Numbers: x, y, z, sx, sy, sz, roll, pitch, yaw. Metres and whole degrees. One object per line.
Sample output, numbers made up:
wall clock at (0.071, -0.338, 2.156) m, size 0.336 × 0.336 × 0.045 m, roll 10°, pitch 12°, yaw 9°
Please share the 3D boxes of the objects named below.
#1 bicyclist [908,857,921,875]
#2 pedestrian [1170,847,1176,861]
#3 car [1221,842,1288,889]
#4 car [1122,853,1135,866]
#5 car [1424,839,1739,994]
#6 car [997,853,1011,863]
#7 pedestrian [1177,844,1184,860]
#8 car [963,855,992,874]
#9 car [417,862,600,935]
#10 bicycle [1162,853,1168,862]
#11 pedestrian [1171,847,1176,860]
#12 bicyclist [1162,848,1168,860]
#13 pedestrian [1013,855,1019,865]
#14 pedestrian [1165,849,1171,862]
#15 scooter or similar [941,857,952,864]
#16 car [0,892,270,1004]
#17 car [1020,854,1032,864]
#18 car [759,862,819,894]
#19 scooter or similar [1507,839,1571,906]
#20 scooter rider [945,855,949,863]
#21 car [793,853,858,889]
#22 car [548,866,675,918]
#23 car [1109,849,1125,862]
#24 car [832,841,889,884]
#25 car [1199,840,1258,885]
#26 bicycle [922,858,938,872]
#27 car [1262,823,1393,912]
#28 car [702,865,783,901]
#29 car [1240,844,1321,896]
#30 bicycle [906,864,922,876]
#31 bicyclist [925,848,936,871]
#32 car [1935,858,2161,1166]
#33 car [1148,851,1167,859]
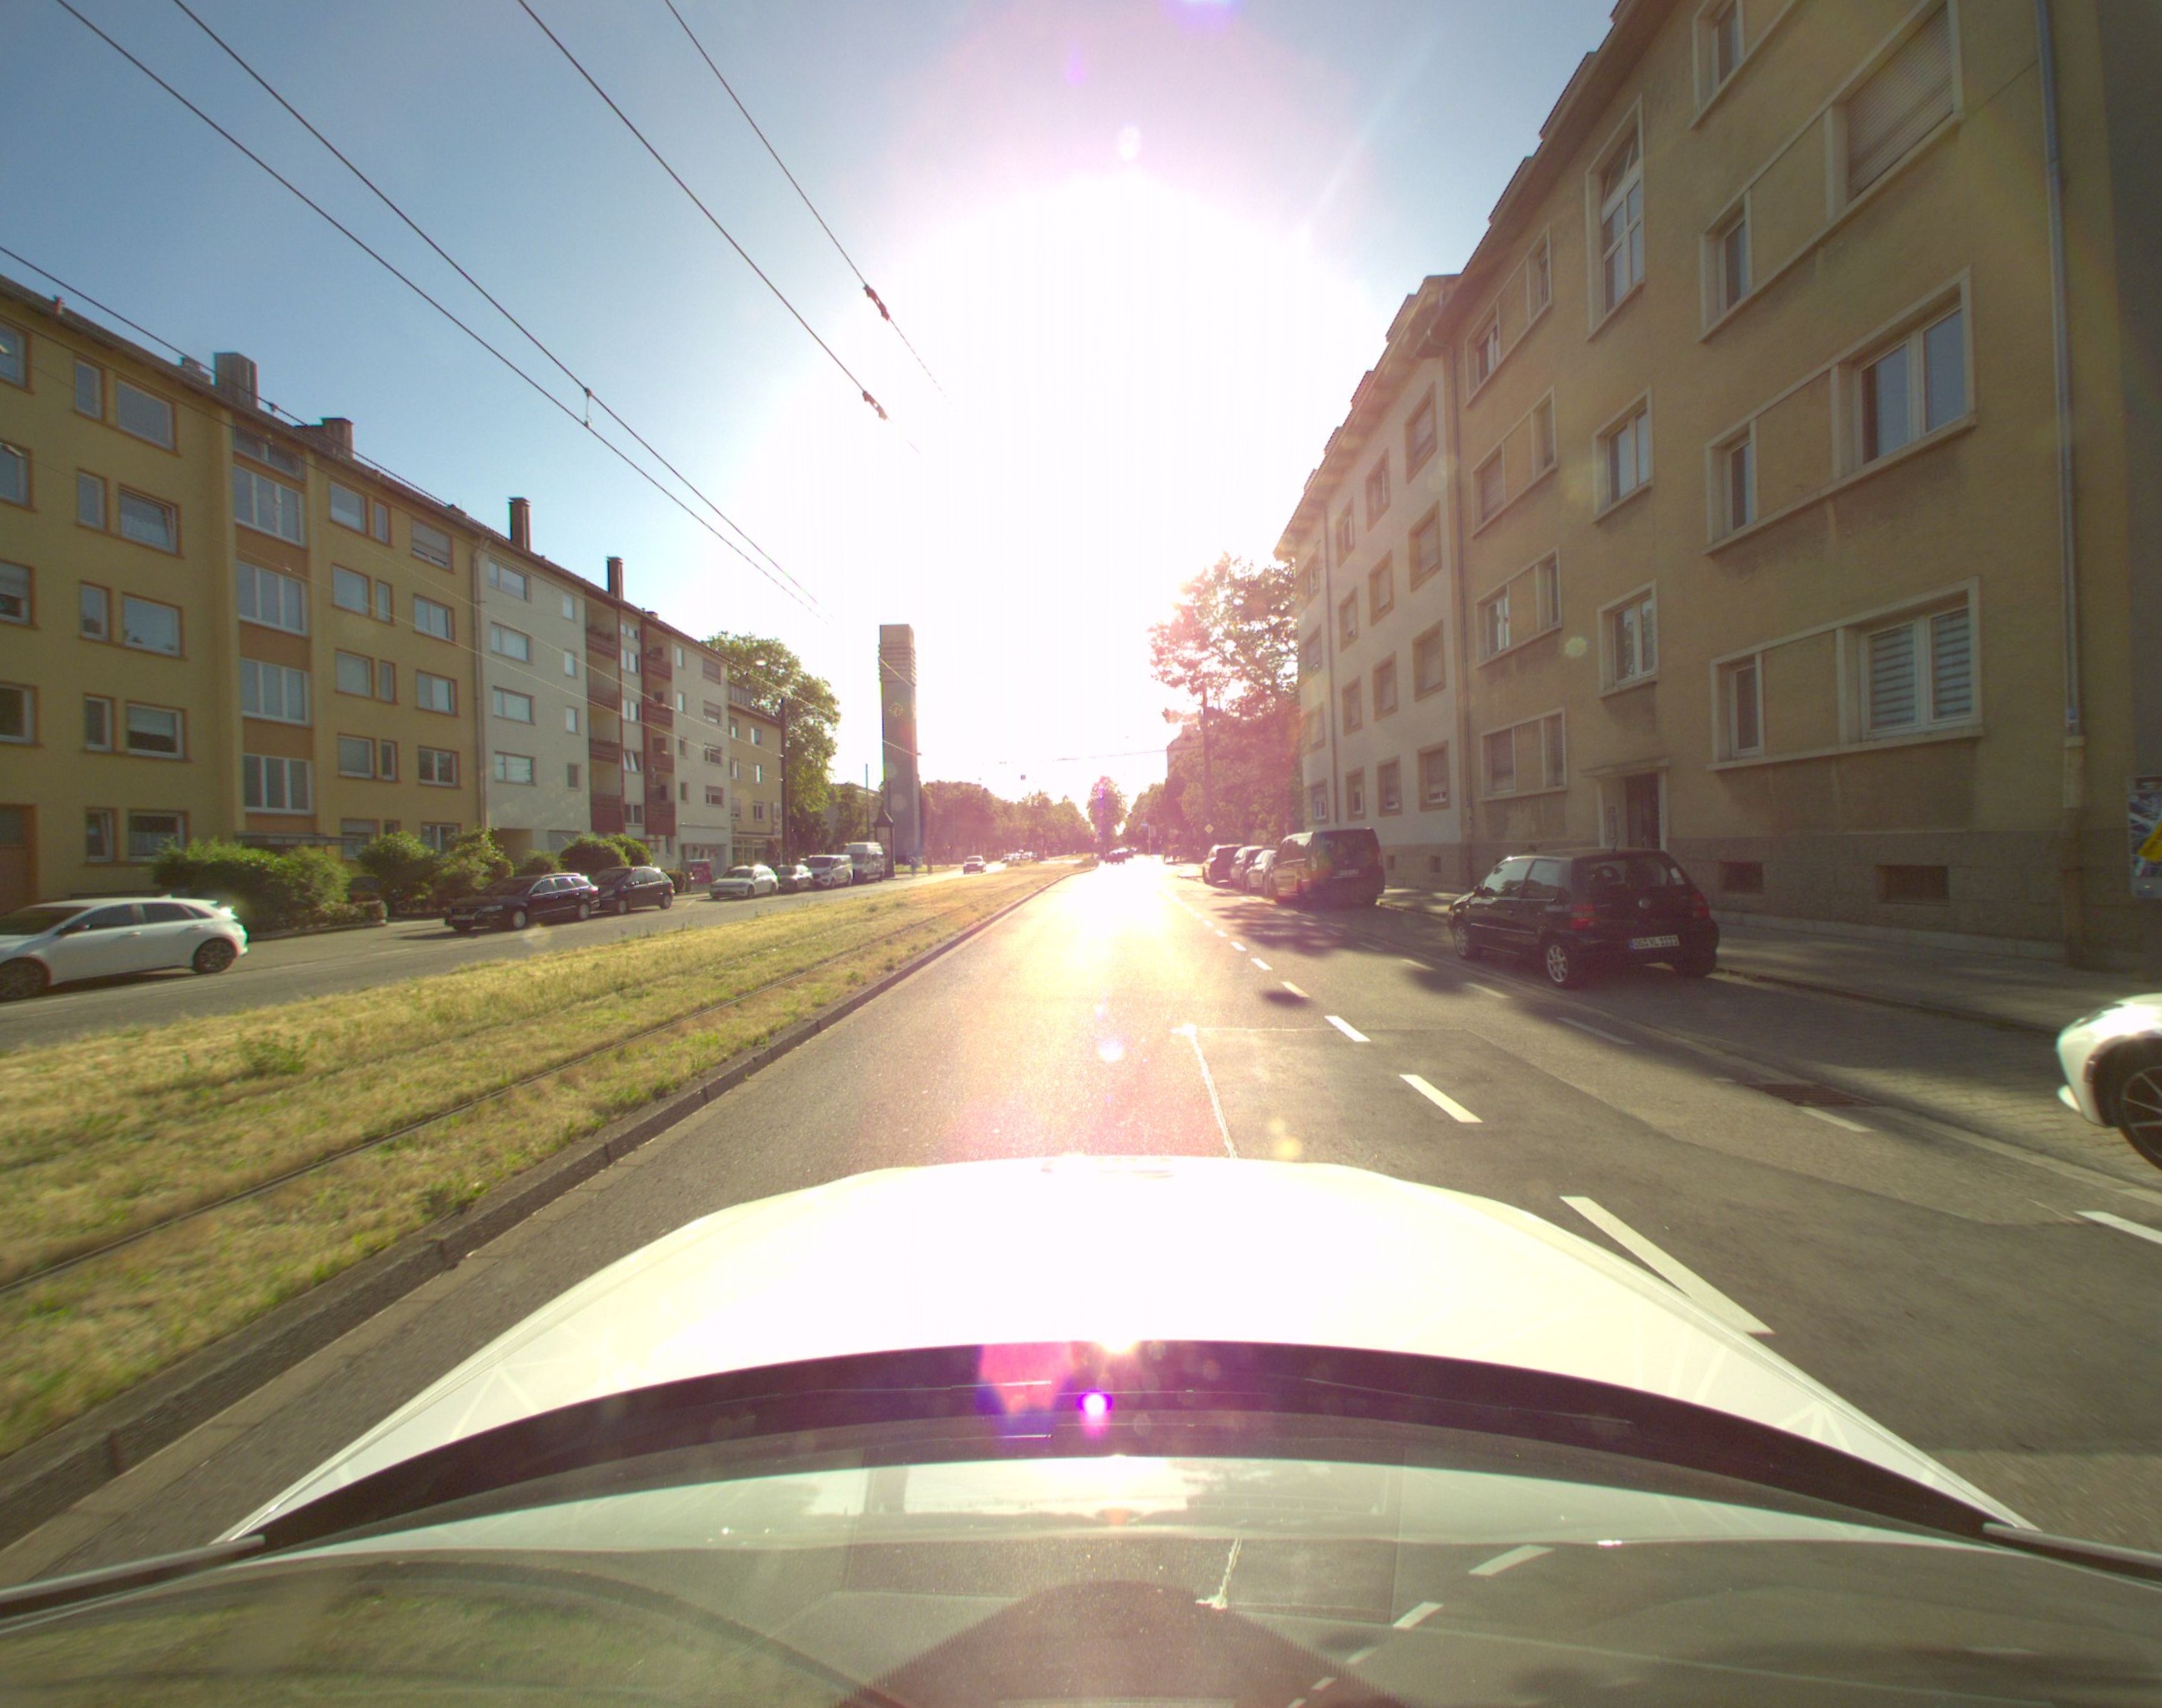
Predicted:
bicyclist at (-13.115, 0.933, 64.093) m, size 0.770 × 1.384 × 0.648 m, roll -2°, pitch 0°, yaw 2°
pedestrian at (11.368, 0.002, 100.603) m, size 0.724 × 1.682 × 0.535 m, roll 1°, pitch 0°, yaw 14°
car at (6.613, 0.416, 31.410) m, size 1.589 × 1.578 × 3.894 m, roll -4°, pitch 0°, yaw -1°
car at (7.510, 0.860, 128.994) m, size 1.962 × 1.859 × 4.000 m, roll 1°, pitch 0°, yaw 0°
car at (5.893, 0.624, 10.190) m, size 1.629 × 1.454 × 3.791 m, roll -4°, pitch 0°, yaw 2°
car at (-13.409, 0.660, 141.434) m, size 1.800 × 1.533 × 4.363 m, roll -2°, pitch 0°, yaw 2°
pedestrian at (11.224, -0.230, 91.989) m, size 0.699 × 1.789 × 0.695 m, roll -4°, pitch 1°, yaw 7°
car at (-9.043, 0.873, 71.310) m, size 1.687 × 1.448 × 4.220 m, roll -3°, pitch 0°, yaw 3°
car at (-16.538, 1.205, 23.890) m, size 1.986 × 1.837 × 4.611 m, roll 0°, pitch 0°, yaw 2°
bicycle at (9.664, 0.369, 93.684) m, size 0.645 × 0.972 × 1.806 m, roll 1°, pitch 0°, yaw 5°
pedestrian at (10.453, -0.064, 92.098) m, size 0.526 × 1.528 × 0.629 m, roll -3°, pitch 0°, yaw 7°
bicyclist at (9.660, -0.011, 93.661) m, size 0.635 × 1.323 × 0.804 m, roll 1°, pitch 0°, yaw 4°
pedestrian at (-10.737, 0.986, 134.085) m, size 0.887 × 1.606 × 0.614 m, roll 1°, pitch 0°, yaw 2°
pedestrian at (10.692, 0.166, 100.440) m, size 0.642 × 1.522 × 0.498 m, roll 1°, pitch 0°, yaw 14°
scooter or similar at (-20.611, 1.012, 124.762) m, size 1.737 × 0.899 × 0.561 m, roll -2°, pitch 0°, yaw -14°
car at (-16.765, 1.490, 13.701) m, size 1.722 × 1.454 × 4.378 m, roll -1°, pitch 0°, yaw 2°
car at (-9.558, 0.845, 142.361) m, size 1.681 × 1.533 × 4.363 m, roll -2°, pitch 0°, yaw 2°
car at (-15.726, 1.259, 44.117) m, size 1.689 × 1.515 × 4.325 m, roll -1°, pitch 0°, yaw -1°
scooter or similar at (9.122, 0.344, 16.258) m, size 0.457 × 1.238 × 1.339 m, roll -5°, pitch 0°, yaw 2°
scooter rider at (-20.586, 0.709, 124.747) m, size 0.526 × 1.218 × 0.585 m, roll 1°, pitch 0°, yaw -14°
car at (-15.626, 0.984, 50.105) m, size 2.024 × 2.021 × 5.375 m, roll 1°, pitch 0°, yaw 3°
car at (-16.498, 1.277, 28.899) m, size 1.986 × 1.607 × 4.153 m, roll 1°, pitch 0°, yaw 2°
car at (4.115, 0.134, 92.722) m, size 1.689 × 1.508 × 3.698 m, roll 0°, pitch 0°, yaw 0°
car at (-15.374, 0.536, 57.190) m, size 2.024 × 2.868 × 6.233 m, roll -1°, pitch 0°, yaw 3°
car at (6.512, 0.345, 36.554) m, size 1.871 × 1.716 × 4.938 m, roll -5°, pitch 0°, yaw 3°
bicycle at (-13.086, 0.916, 70.549) m, size 0.765 × 1.146 × 2.476 m, roll -4°, pitch 0°, yaw 2°
car at (6.291, 0.302, 21.474) m, size 1.906 × 1.899 × 5.137 m, roll -5°, pitch 0°, yaw 1°
car at (-15.948, 1.340, 38.685) m, size 1.886 × 1.491 × 4.703 m, roll 0°, pitch 0°, yaw 0°
car at (6.420, 0.481, 26.586) m, size 1.506 × 1.478 × 4.237 m, roll -3°, pitch 0°, yaw -1°
bicycle at (-13.133, 1.273, 64.129) m, size 0.765 × 0.879 × 2.070 m, roll -3°, pitch 0°, yaw 2°
bicyclist at (-12.995, 0.480, 70.487) m, size 0.770 × 2.013 × 0.648 m, roll 1°, pitch 0°, yaw 2°
car at (5.674, 0.710, 2.439) m, size 1.696 × 1.275 × 4.304 m, roll -5°, pitch 0°, yaw 1°
car at (17.287, 0.226, 182.973) m, size 3.960 × 1.859 × 2.019 m, roll 1°, pitch 0°, yaw 12°
